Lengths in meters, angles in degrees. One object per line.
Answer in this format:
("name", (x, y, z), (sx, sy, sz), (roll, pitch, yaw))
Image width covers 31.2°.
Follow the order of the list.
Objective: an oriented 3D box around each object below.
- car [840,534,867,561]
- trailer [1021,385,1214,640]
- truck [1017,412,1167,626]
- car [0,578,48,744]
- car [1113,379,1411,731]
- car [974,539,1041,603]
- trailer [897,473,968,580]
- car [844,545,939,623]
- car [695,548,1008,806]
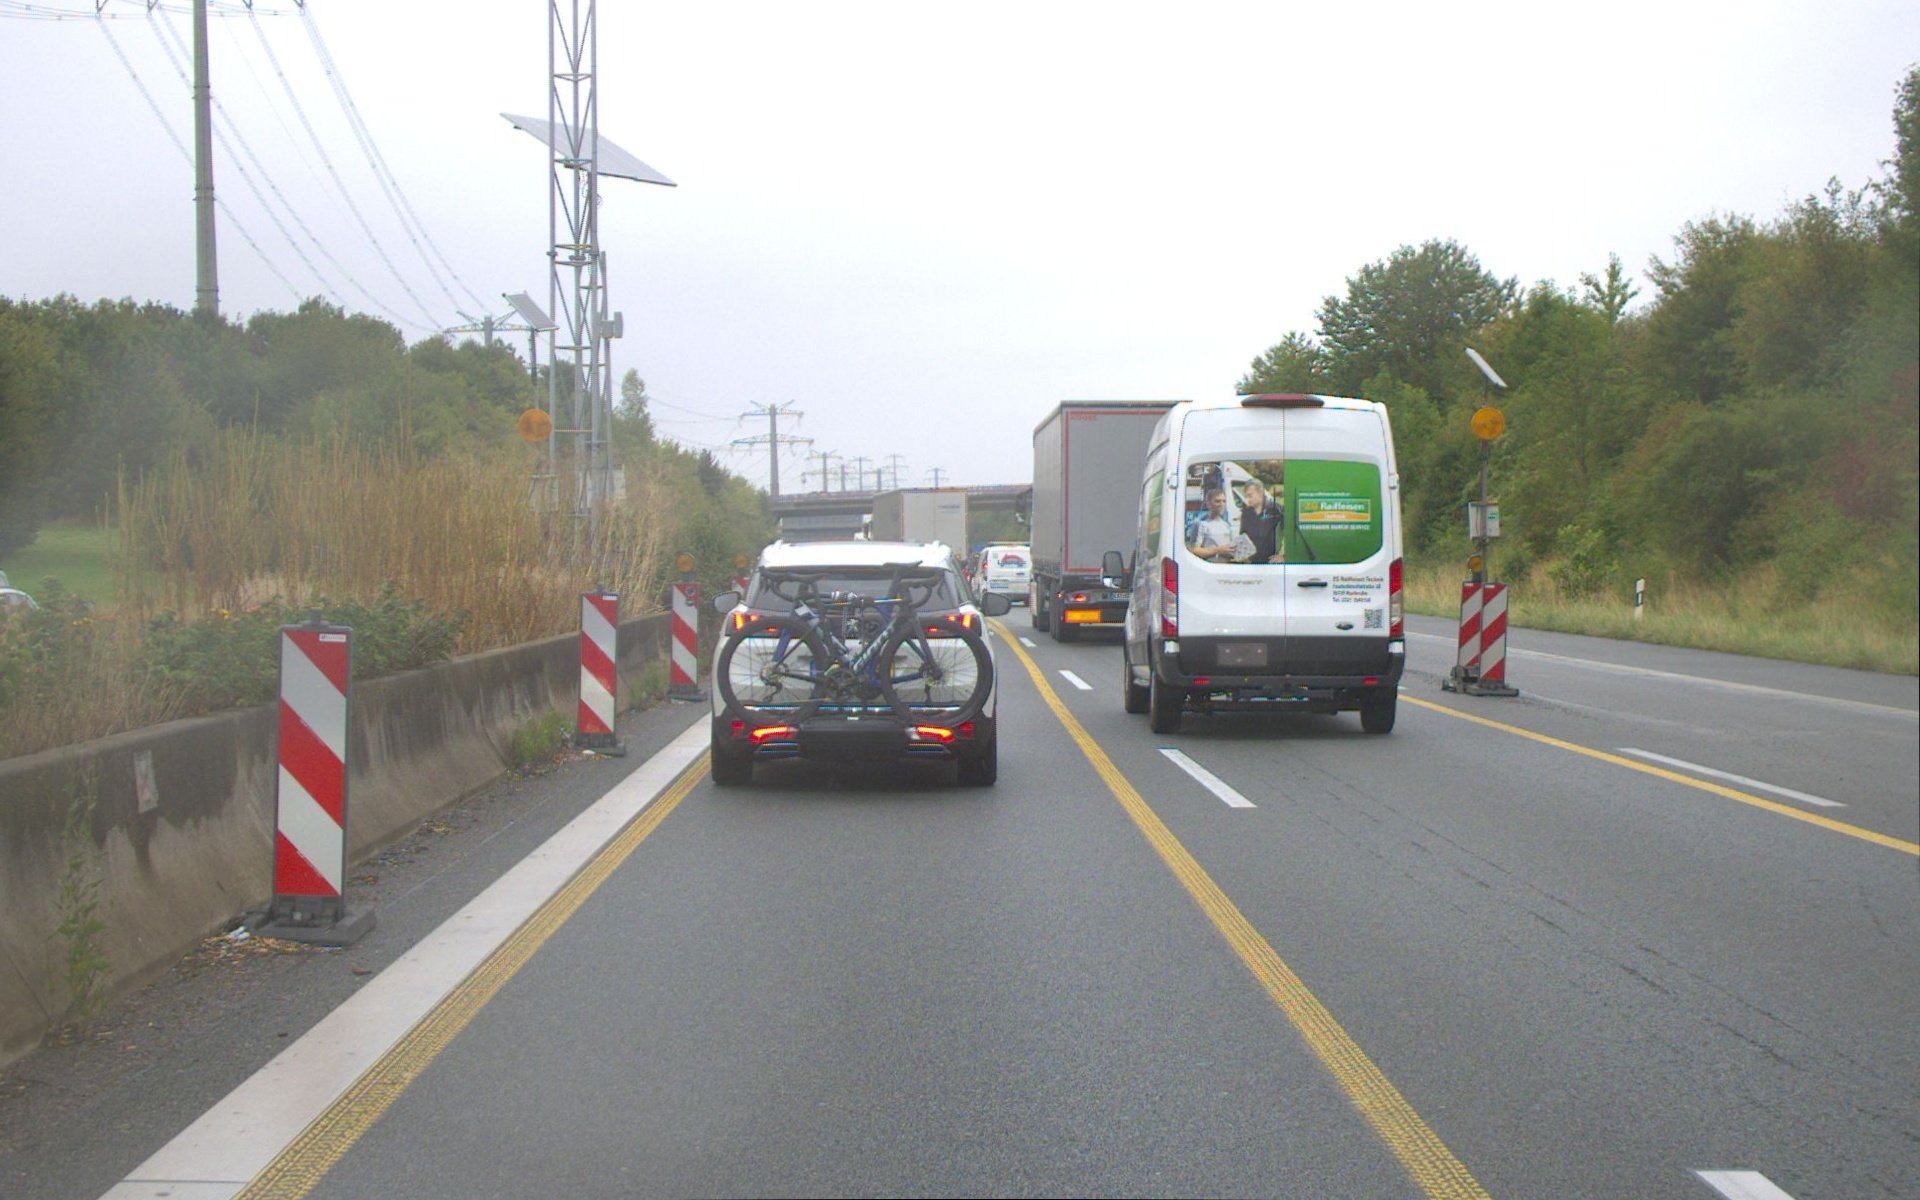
("car", (-8.050, -4.010, 260.266), (1.931, 1.966, 4.001), (0, 2, -1))
("trailer", (2.667, -1.517, 62.480), (2.706, 4.132, 13.733), (0, 1, -1))
("truck", (2.600, -1.610, 69.327), (2.706, 4.124, 5.691), (0, 1, -1))
("car", (-12.099, 0.707, 40.286), (1.732, 1.926, 4.161), (1, 0, 0))
("car", (2.521, -0.403, 30.116), (1.993, 2.773, 5.757), (0, 1, -1))
("car", (1.378, -0.862, 100.926), (1.829, 1.833, 4.656), (0, 1, -1))
("trailer", (-1.167, -2.919, 138.034), (2.692, 4.062, 13.634), (0, 1, -1))
("car", (-1.367, -0.348, 68.986), (1.850, 1.525, 4.000), (0, 1, -1))
("car", (-0.685, 0.422, 22.732), (1.850, 1.525, 4.769), (0, 1, -1))
